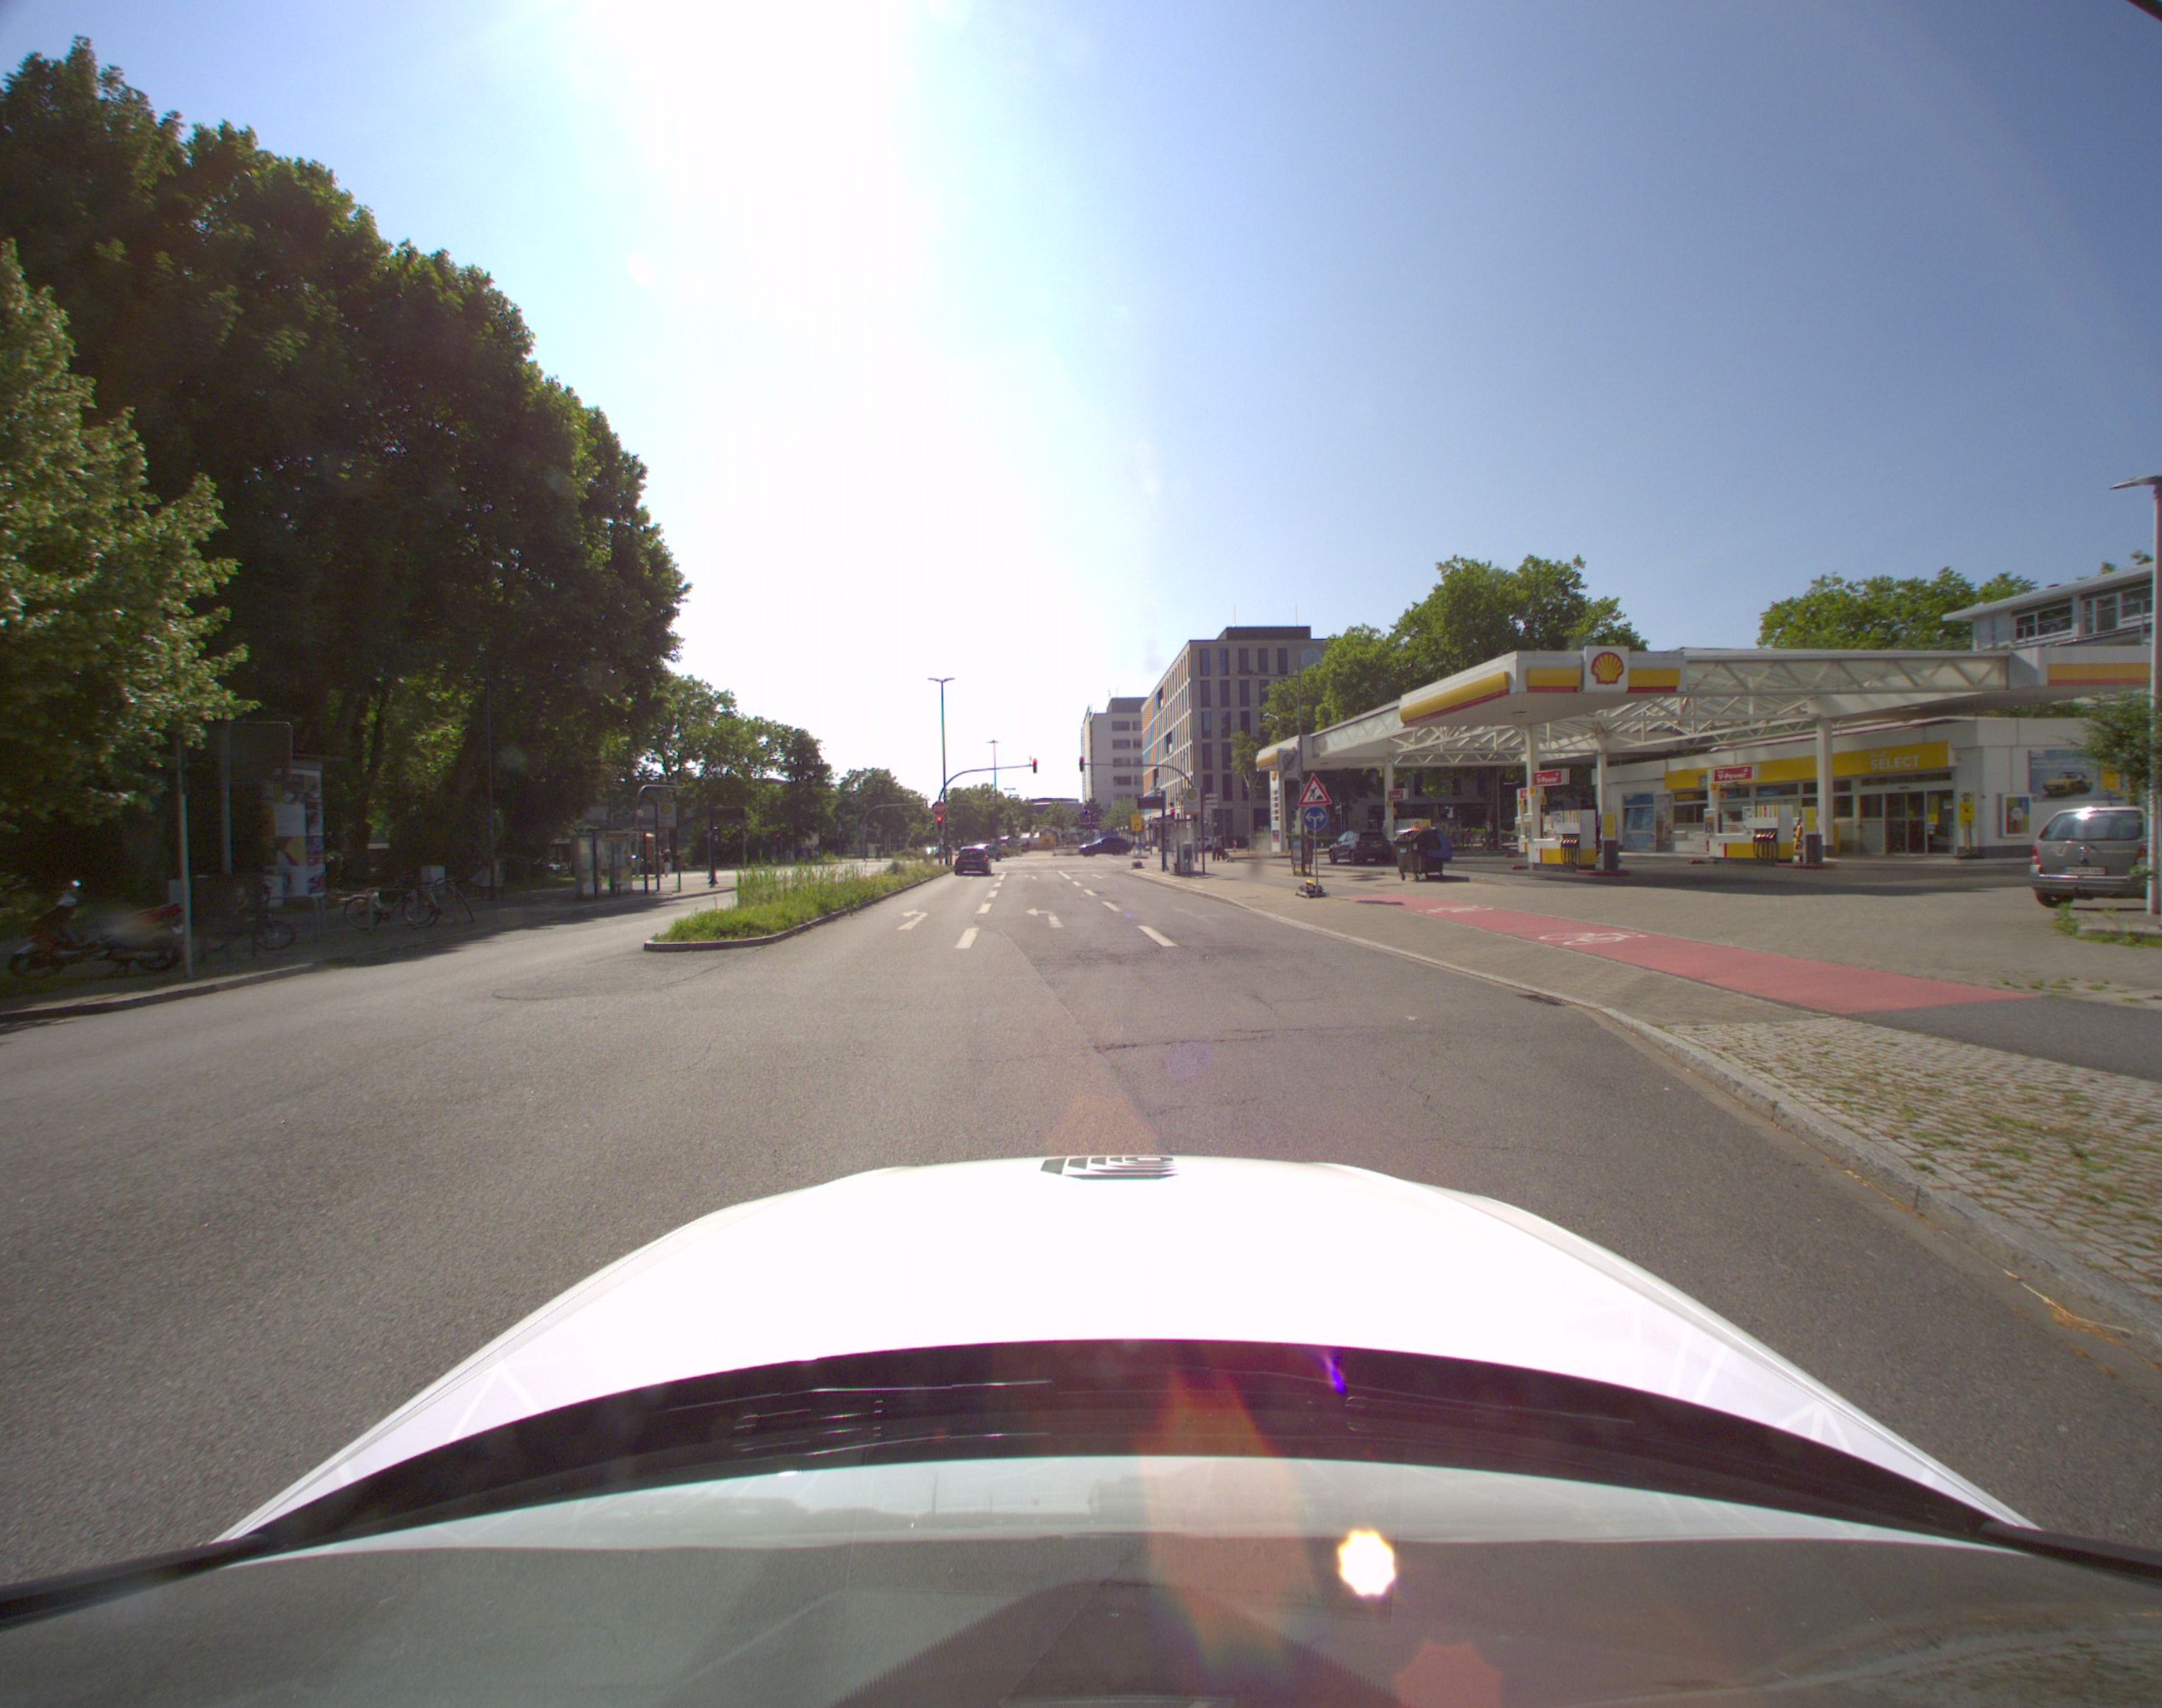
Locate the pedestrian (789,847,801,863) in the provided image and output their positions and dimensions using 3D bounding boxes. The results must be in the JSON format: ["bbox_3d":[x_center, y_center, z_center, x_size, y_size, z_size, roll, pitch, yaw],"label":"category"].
[{"bbox_3d":[-29.145,0.063,83.012,0.649,1.611,0.946,-1,1,19],"label":"pedestrian"}]

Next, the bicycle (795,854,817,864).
[{"bbox_3d":[-27.459,0.499,81.271,2.003,0.883,0.524,-2,1,-15],"label":"bicycle"}]

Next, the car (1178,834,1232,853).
[{"bbox_3d":[12.056,-1.023,79.205,4.848,1.636,1.996,-1,1,-6],"label":"car"}]

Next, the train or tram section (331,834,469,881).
[{"bbox_3d":[-52.545,0.231,63.038,7.546,3.331,3.113,-2,1,-6],"label":"train or tram section"}]

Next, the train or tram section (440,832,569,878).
[{"bbox_3d":[-45.024,0.054,63.866,7.546,3.331,3.113,-2,1,-6],"label":"train or tram section"}]

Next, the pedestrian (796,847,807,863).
[{"bbox_3d":[-28.238,0.129,82.284,0.649,1.611,0.946,-1,1,19],"label":"pedestrian"}]

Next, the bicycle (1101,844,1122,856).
[{"bbox_3d":[3.404,-0.466,90.283,2.219,1.285,0.525,-1,1,4],"label":"bicycle"}]

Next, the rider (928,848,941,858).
[{"bbox_3d":[-17.333,-0.141,96.422,1.390,1.195,2.692,-1,1,-7],"label":"rider"}]

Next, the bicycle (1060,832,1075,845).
[{"bbox_3d":[-2.045,-2.337,124.067,2.080,1.961,0.828,-1,0,1],"label":"bicycle"}]

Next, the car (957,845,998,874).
[{"bbox_3d":[-5.363,0.243,42.159,1.992,1.398,3.990,-1,1,-7],"label":"car"}]

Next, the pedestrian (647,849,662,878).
[{"bbox_3d":[-26.531,0.577,50.660,0.661,1.726,0.747,-2,1,-22],"label":"pedestrian"}]

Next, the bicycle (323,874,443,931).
[{"bbox_3d":[-14.744,1.018,17.238,1.841,1.106,0.692,-1,1,-4],"label":"bicycle"}]

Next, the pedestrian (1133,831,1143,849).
[{"bbox_3d":[6.213,-1.539,89.055,0.771,2.013,0.781,-1,1,24],"label":"pedestrian"}]

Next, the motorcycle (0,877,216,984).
[{"bbox_3d":[-13.075,0.996,10.970,1.846,1.284,0.690,-1,1,-11],"label":"motorcycle"}]

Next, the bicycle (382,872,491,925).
[{"bbox_3d":[-14.657,1.000,18.541,1.841,1.122,0.692,-1,1,-4],"label":"bicycle"}]

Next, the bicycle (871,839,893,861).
[{"bbox_3d":[-21.736,-0.434,88.882,1.597,2.269,3.994,-2,1,-4],"label":"bicycle"}]

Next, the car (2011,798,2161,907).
[{"bbox_3d":[17.485,-0.070,12.978,3.814,1.596,1.587,-1,1,-5],"label":"car"}]

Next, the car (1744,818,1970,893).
[{"bbox_3d":[18.635,0.013,19.642,3.983,1.581,1.839,-2,1,-7],"label":"car"}]

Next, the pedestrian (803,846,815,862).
[{"bbox_3d":[-27.884,0.028,83.414,0.660,1.611,0.946,-1,1,19],"label":"pedestrian"}]

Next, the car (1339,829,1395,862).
[{"bbox_3d":[13.130,-0.388,37.590,1.641,1.398,3.648,-1,1,6],"label":"car"}]

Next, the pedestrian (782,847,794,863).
[{"bbox_3d":[-29.811,0.081,82.938,0.649,1.611,0.946,-1,1,19],"label":"pedestrian"}]

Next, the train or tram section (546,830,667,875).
[{"bbox_3d":[-37.524,-0.158,64.707,7.546,3.331,3.113,-2,1,-6],"label":"train or tram section"}]

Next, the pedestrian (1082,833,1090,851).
[{"bbox_3d":[0.542,-1.357,92.724,0.789,2.013,0.539,-1,1,-15],"label":"pedestrian"}]

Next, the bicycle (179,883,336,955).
[{"bbox_3d":[-13.922,1.082,13.809,1.841,1.092,0.692,-1,1,-4],"label":"bicycle"}]

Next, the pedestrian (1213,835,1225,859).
[{"bbox_3d":[8.946,-0.439,52.714,0.617,1.543,0.461,-1,1,-5],"label":"pedestrian"}]

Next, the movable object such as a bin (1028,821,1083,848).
[{"bbox_3d":[-4.509,-3.482,144.858,9.652,4.549,3.161,-1,1,-3],"label":"movable object such as a bin"}]

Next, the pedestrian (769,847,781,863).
[{"bbox_3d":[-30.926,0.119,82.404,0.649,1.611,0.946,-1,1,19],"label":"pedestrian"}]

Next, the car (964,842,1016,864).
[{"bbox_3d":[-7.491,-0.118,67.444,1.974,1.638,4.424,-1,1,32],"label":"car"}]

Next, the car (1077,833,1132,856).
[{"bbox_3d":[2.220,-0.873,76.910,4.859,2.013,1.991,-1,1,-13],"label":"car"}]

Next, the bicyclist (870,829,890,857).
[{"bbox_3d":[-21.704,-1.165,88.065,1.597,2.931,2.350,-2,0,-4],"label":"bicyclist"}]

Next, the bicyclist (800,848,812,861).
[{"bbox_3d":[-27.475,0.054,81.272,1.053,1.274,0.490,-2,1,-15],"label":"bicyclist"}]

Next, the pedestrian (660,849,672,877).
[{"bbox_3d":[-25.946,0.533,50.918,0.569,1.726,0.728,-2,1,-22],"label":"pedestrian"}]

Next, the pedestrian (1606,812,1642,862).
[{"bbox_3d":[20.529,-0.633,30.772,0.747,1.837,0.851,-2,1,-26],"label":"pedestrian"}]

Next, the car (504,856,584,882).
[{"bbox_3d":[-31.626,0.854,48.048,3.495,1.377,1.634,-2,1,-7],"label":"car"}]

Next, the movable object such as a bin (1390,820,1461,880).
[{"bbox_3d":[9.911,-0.128,23.506,1.306,1.592,1.392,-4,1,-7],"label":"movable object such as a bin"}]

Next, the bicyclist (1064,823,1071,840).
[{"bbox_3d":[-2.071,-3.403,124.066,1.065,2.574,0.828,-1,0,2],"label":"bicyclist"}]
